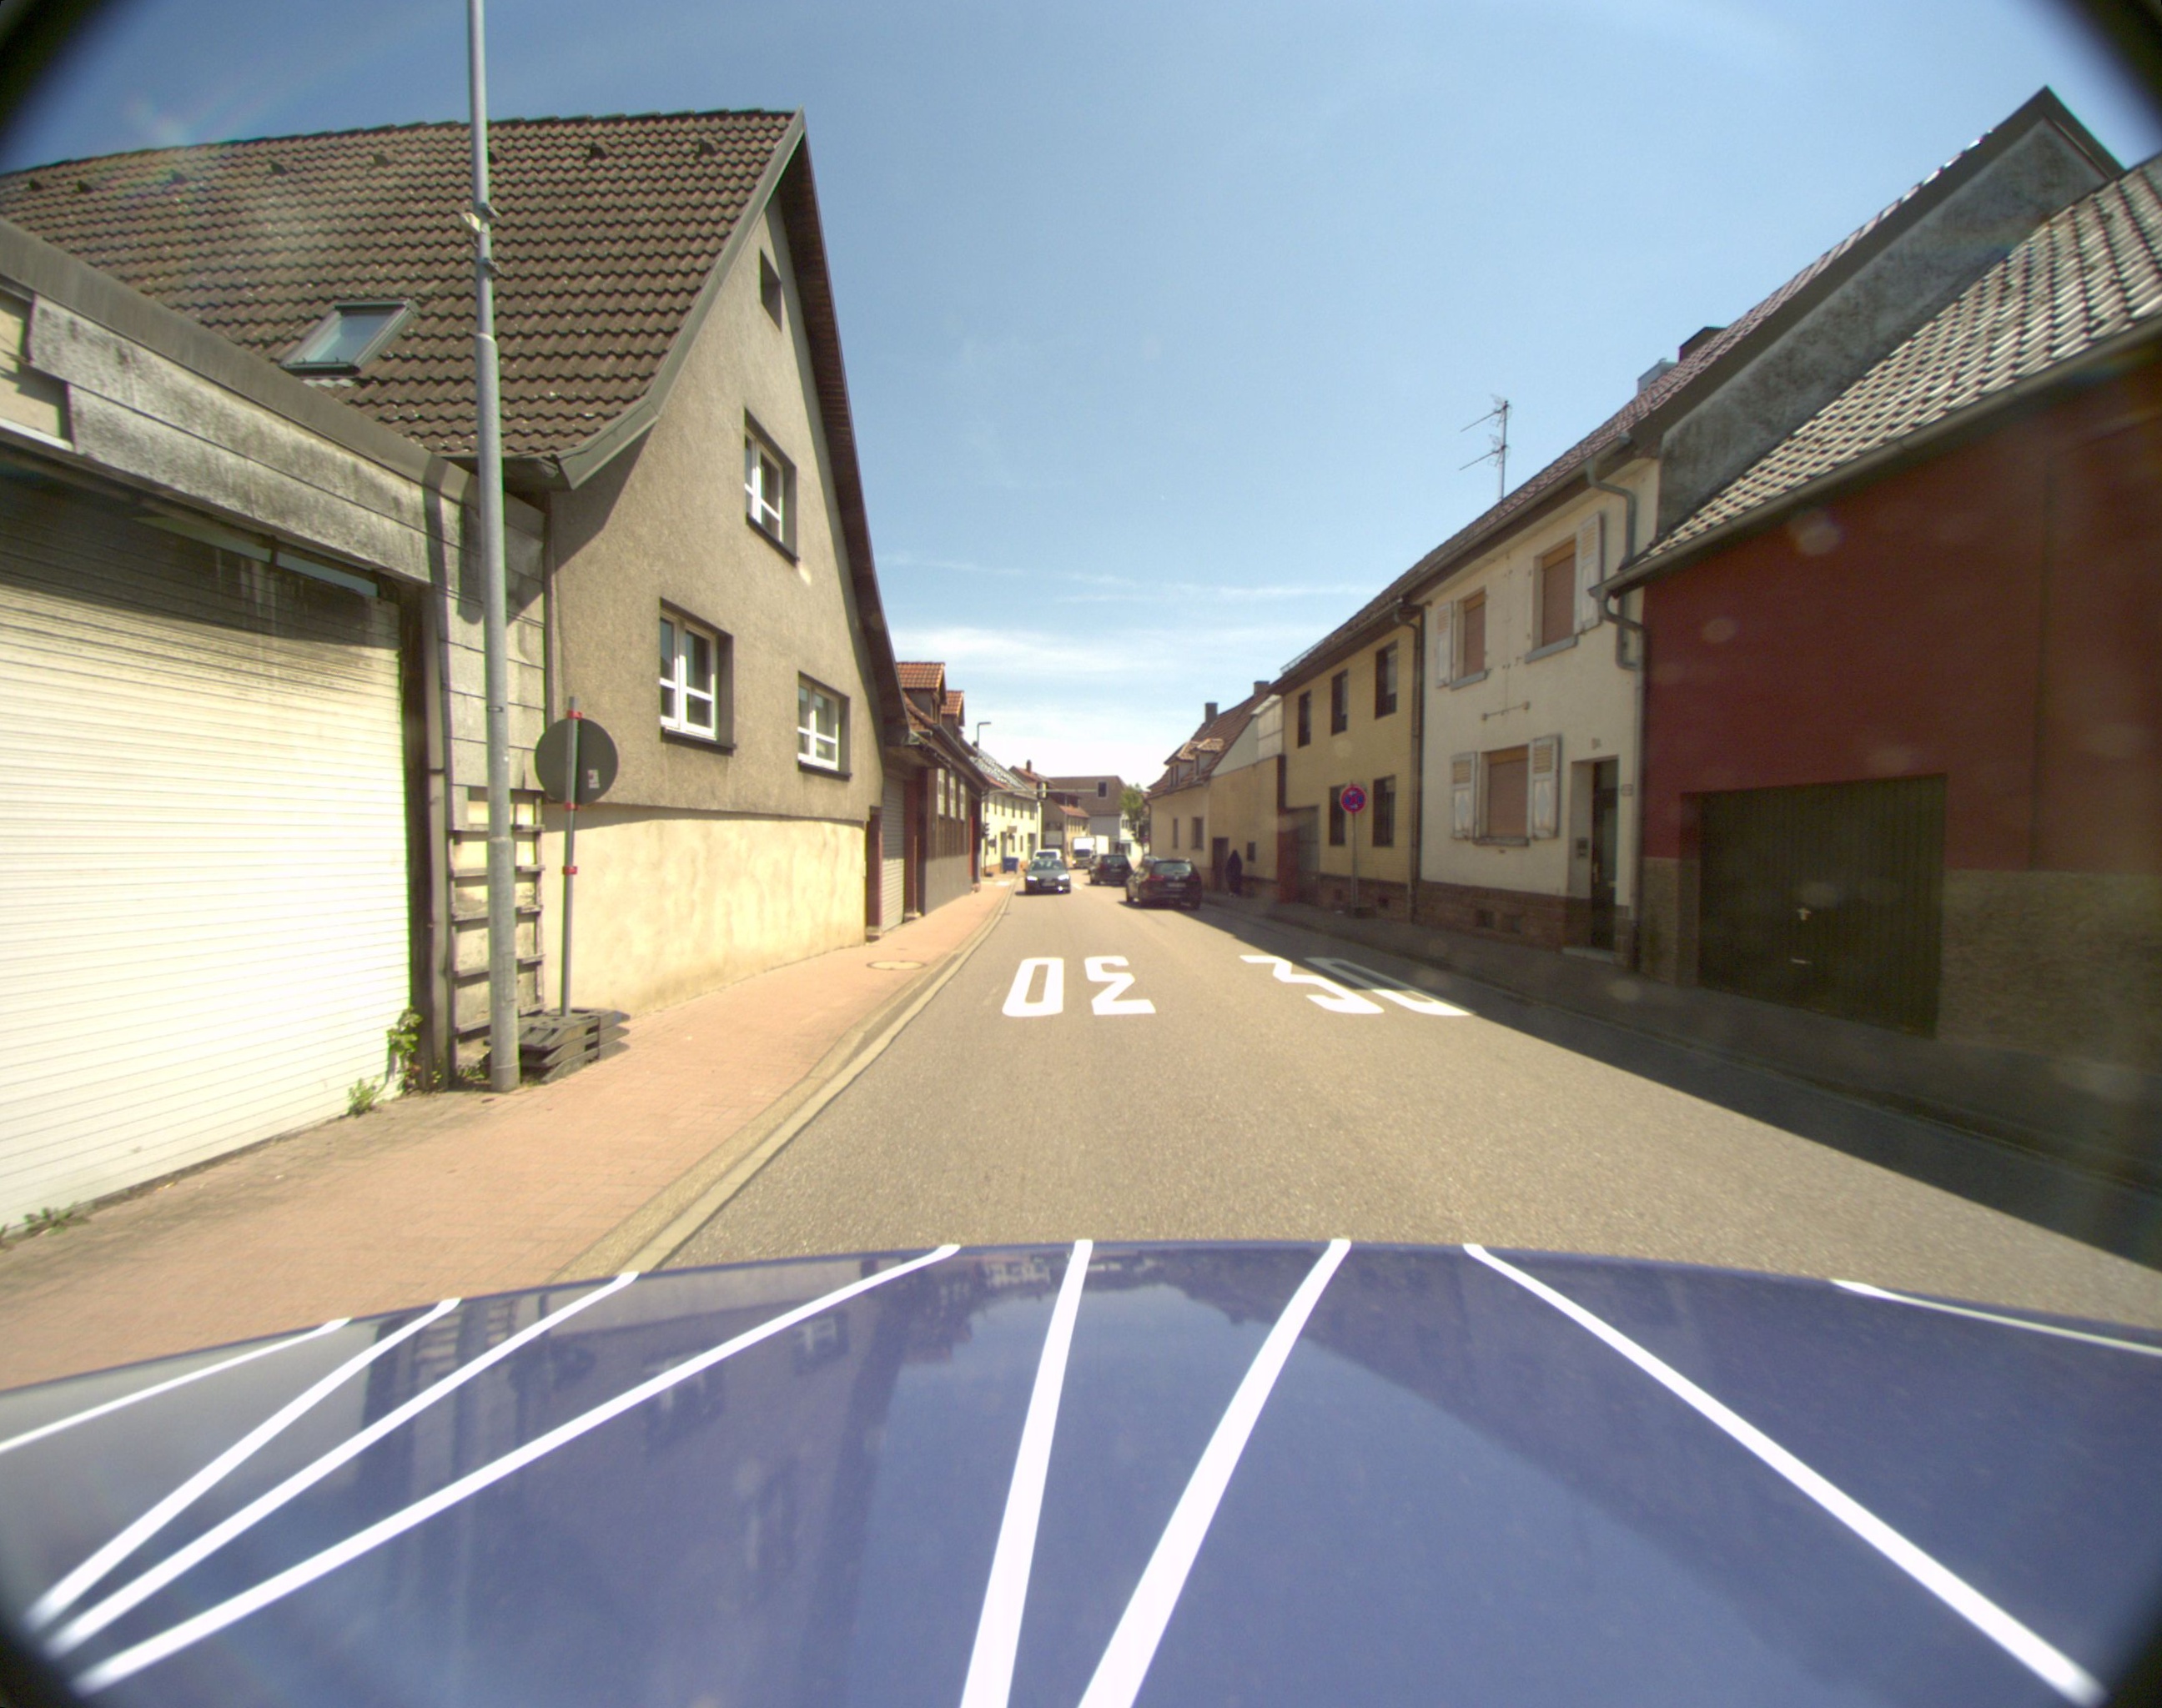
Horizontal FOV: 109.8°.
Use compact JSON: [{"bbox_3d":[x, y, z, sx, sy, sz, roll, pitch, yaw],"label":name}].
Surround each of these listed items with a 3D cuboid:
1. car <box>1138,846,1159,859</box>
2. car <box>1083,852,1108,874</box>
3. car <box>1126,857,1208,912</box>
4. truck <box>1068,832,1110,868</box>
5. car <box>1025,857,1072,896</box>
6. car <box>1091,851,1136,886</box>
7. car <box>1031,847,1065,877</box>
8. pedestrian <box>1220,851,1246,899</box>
[{"bbox_3d":[9.507,-0.209,106.904,1.996,1.609,4.005,-2,1,19],"label":"car"},{"bbox_3d":[1.191,0.663,59.421,1.833,1.612,4.261,0,0,3],"label":"car"},{"bbox_3d":[2.464,0.843,22.799,1.699,1.401,4.198,1,0,-4],"label":"car"},{"bbox_3d":[0.943,-0.536,79.507,2.864,3.492,8.325,2,2,12],"label":"truck"},{"bbox_3d":[-1.311,0.872,30.933,1.786,1.365,3.605,0,1,-2],"label":"car"},{"bbox_3d":[1.590,0.698,38.830,1.816,1.600,4.335,1,0,-4],"label":"car"},{"bbox_3d":[-2.270,0.528,54.025,2.079,1.949,5.517,0,1,0],"label":"car"},{"bbox_3d":[5.068,0.695,25.391,0.663,1.555,0.754,-1,2,-2],"label":"pedestrian"}]
